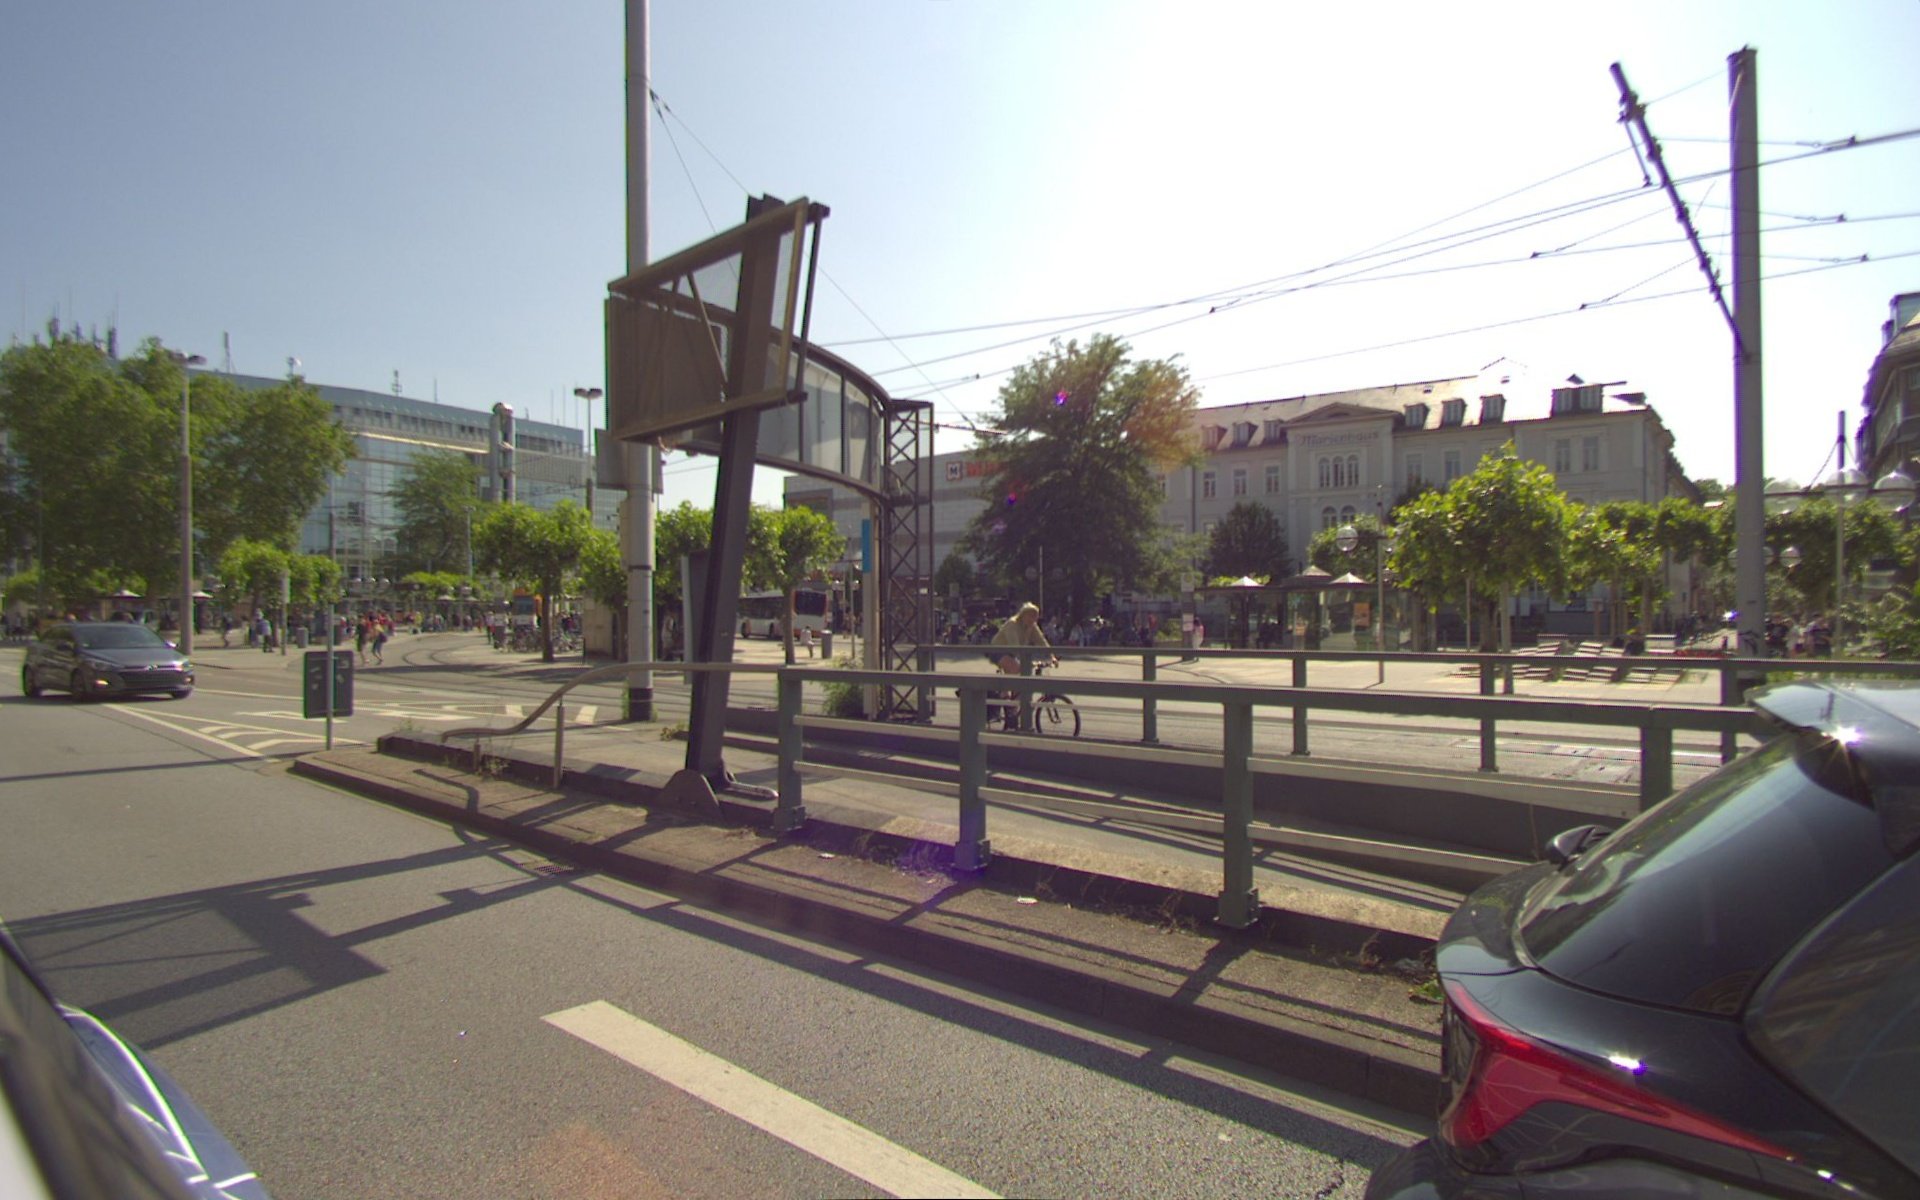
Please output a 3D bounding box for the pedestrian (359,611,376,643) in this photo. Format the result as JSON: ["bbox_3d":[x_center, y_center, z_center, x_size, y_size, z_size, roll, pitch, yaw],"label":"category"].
[{"bbox_3d":[-34.380,1.586,58.703,0.605,1.830,0.570,-3,-5,40],"label":"pedestrian"}]

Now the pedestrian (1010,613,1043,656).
[{"bbox_3d":[2.897,1.535,44.402,0.953,1.807,1.082,4,-5,-40],"label":"pedestrian"}]

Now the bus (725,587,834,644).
[{"bbox_3d":[-12.359,0.988,67.852,3.014,3.445,12.497,-1,0,-30],"label":"bus"}]

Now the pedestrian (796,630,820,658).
[{"bbox_3d":[-5.706,1.654,38.031,0.580,1.008,0.627,-3,-6,43],"label":"pedestrian"}]

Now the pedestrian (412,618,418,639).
[{"bbox_3d":[-39.882,2.081,74.041,0.379,1.561,0.412,-1,-3,-25],"label":"pedestrian"}]

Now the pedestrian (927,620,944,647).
[{"bbox_3d":[-1.367,1.903,56.622,0.679,1.477,0.617,-2,-5,36],"label":"pedestrian"}]

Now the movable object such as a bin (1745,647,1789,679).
[{"bbox_3d":[20.271,1.583,25.422,0.799,0.760,0.897,-3,-5,41],"label":"movable object such as a bin"}]

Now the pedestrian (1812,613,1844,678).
[{"bbox_3d":[21.953,1.166,25.589,0.493,1.622,0.410,-2,-5,32],"label":"pedestrian"}]

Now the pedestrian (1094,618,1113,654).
[{"bbox_3d":[6.572,1.647,46.273,0.616,1.611,0.735,-1,-4,29],"label":"pedestrian"}]

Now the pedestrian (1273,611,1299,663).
[{"bbox_3d":[12.758,1.453,39.613,0.621,2.023,0.736,4,-5,-44],"label":"pedestrian"}]

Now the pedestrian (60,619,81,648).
[{"bbox_3d":[-55.588,2.097,63.227,0.739,1.761,0.785,-1,-7,-23],"label":"pedestrian"}]

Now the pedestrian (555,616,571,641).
[{"bbox_3d":[-26.097,1.885,66.467,0.675,1.610,0.621,0,-4,19],"label":"pedestrian"}]

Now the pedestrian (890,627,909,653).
[{"bbox_3d":[-3.609,2.390,60.463,0.740,1.477,0.780,-2,-5,36],"label":"pedestrian"}]

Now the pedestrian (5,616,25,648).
[{"bbox_3d":[-51.954,1.751,55.641,0.639,1.704,0.637,-1,0,27],"label":"pedestrian"}]

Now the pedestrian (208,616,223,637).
[{"bbox_3d":[-62.748,2.204,85.288,0.780,1.760,0.744,-1,0,31],"label":"pedestrian"}]

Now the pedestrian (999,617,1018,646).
[{"bbox_3d":[2.181,1.425,45.670,0.613,1.273,0.583,4,-5,-40],"label":"pedestrian"}]

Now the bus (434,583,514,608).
[{"bbox_3d":[-58.682,-0.489,122.670,2.362,2.811,12.152,-1,0,8],"label":"bus"}]

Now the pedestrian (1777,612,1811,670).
[{"bbox_3d":[23.647,1.170,28.716,0.618,1.622,0.488,-2,-5,31],"label":"pedestrian"}]

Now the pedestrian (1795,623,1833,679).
[{"bbox_3d":[23.178,1.383,27.480,0.659,1.504,0.520,-2,-5,33],"label":"pedestrian"}]

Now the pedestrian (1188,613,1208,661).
[{"bbox_3d":[8.603,1.351,36.624,0.671,1.719,0.703,0,-4,10],"label":"pedestrian"}]

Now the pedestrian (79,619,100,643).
[{"bbox_3d":[-52.998,1.882,61.637,0.780,1.418,0.744,-1,0,31],"label":"pedestrian"}]

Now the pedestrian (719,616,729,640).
[{"bbox_3d":[-14.398,1.713,61.697,0.407,1.477,0.451,0,-4,6],"label":"pedestrian"}]

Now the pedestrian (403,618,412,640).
[{"bbox_3d":[-38.963,2.045,71.386,0.468,1.561,0.493,-2,-2,-25],"label":"pedestrian"}]

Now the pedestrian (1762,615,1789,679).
[{"bbox_3d":[21.069,1.212,26.146,0.465,1.622,0.447,-3,-5,41],"label":"pedestrian"}]

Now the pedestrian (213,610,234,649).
[{"bbox_3d":[-38.490,1.522,52.876,0.563,2.023,0.686,-1,-2,32],"label":"pedestrian"}]

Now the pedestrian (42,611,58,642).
[{"bbox_3d":[-52.015,1.513,57.854,0.516,1.756,0.511,-1,0,27],"label":"pedestrian"}]

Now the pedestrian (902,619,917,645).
[{"bbox_3d":[-2.977,1.909,59.695,0.679,1.477,0.617,-2,-5,36],"label":"pedestrian"}]

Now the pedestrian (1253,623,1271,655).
[{"bbox_3d":[13.180,1.696,44.124,0.598,1.369,0.562,-2,-5,40],"label":"pedestrian"}]

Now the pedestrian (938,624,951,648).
[{"bbox_3d":[-0.843,1.943,54.886,0.511,1.273,0.453,5,-6,-45],"label":"pedestrian"}]

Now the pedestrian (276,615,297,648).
[{"bbox_3d":[-37.628,1.752,56.575,0.671,1.808,0.625,1,-4,-1],"label":"pedestrian"}]

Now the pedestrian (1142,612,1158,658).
[{"bbox_3d":[8.387,1.550,44.644,0.627,2.023,0.542,0,-4,19],"label":"pedestrian"}]

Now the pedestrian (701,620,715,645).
[{"bbox_3d":[-14.926,1.926,60.015,0.585,1.477,0.522,-1,-4,21],"label":"pedestrian"}]

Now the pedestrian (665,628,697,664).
[{"bbox_3d":[-9.454,1.557,34.280,0.751,1.180,0.669,-2,-5,35],"label":"pedestrian"}]

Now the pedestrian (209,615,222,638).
[{"bbox_3d":[-56.128,2.023,76.317,0.629,1.706,0.754,-1,0,-27],"label":"pedestrian"}]

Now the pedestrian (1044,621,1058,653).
[{"bbox_3d":[3.684,1.491,40.945,0.479,1.273,0.400,-1,-4,22],"label":"pedestrian"}]

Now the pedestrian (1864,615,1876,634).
[{"bbox_3d":[62.291,1.675,69.261,0.475,1.273,0.511,-2,-5,35],"label":"pedestrian"}]

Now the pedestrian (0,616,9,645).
[{"bbox_3d":[-58.475,1.876,61.633,0.666,1.760,0.742,-1,0,39],"label":"pedestrian"}]

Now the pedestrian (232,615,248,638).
[{"bbox_3d":[-55.721,2.035,78.365,0.780,1.760,0.744,-1,0,31],"label":"pedestrian"}]

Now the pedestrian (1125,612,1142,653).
[{"bbox_3d":[7.594,1.427,44.250,0.627,1.762,0.542,0,-4,19],"label":"pedestrian"}]

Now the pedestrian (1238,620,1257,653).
[{"bbox_3d":[12.166,1.546,42.802,0.598,1.402,0.562,-2,-5,40],"label":"pedestrian"}]

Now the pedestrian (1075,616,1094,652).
[{"bbox_3d":[6.059,1.650,49.215,0.618,1.742,0.733,-2,-5,40],"label":"pedestrian"}]

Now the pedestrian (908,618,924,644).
[{"bbox_3d":[-2.468,1.746,56.958,0.679,1.477,0.617,-2,-5,36],"label":"pedestrian"}]

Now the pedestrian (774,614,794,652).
[{"bbox_3d":[-7.739,1.455,44.480,0.549,1.620,0.600,-3,-6,43],"label":"pedestrian"}]
